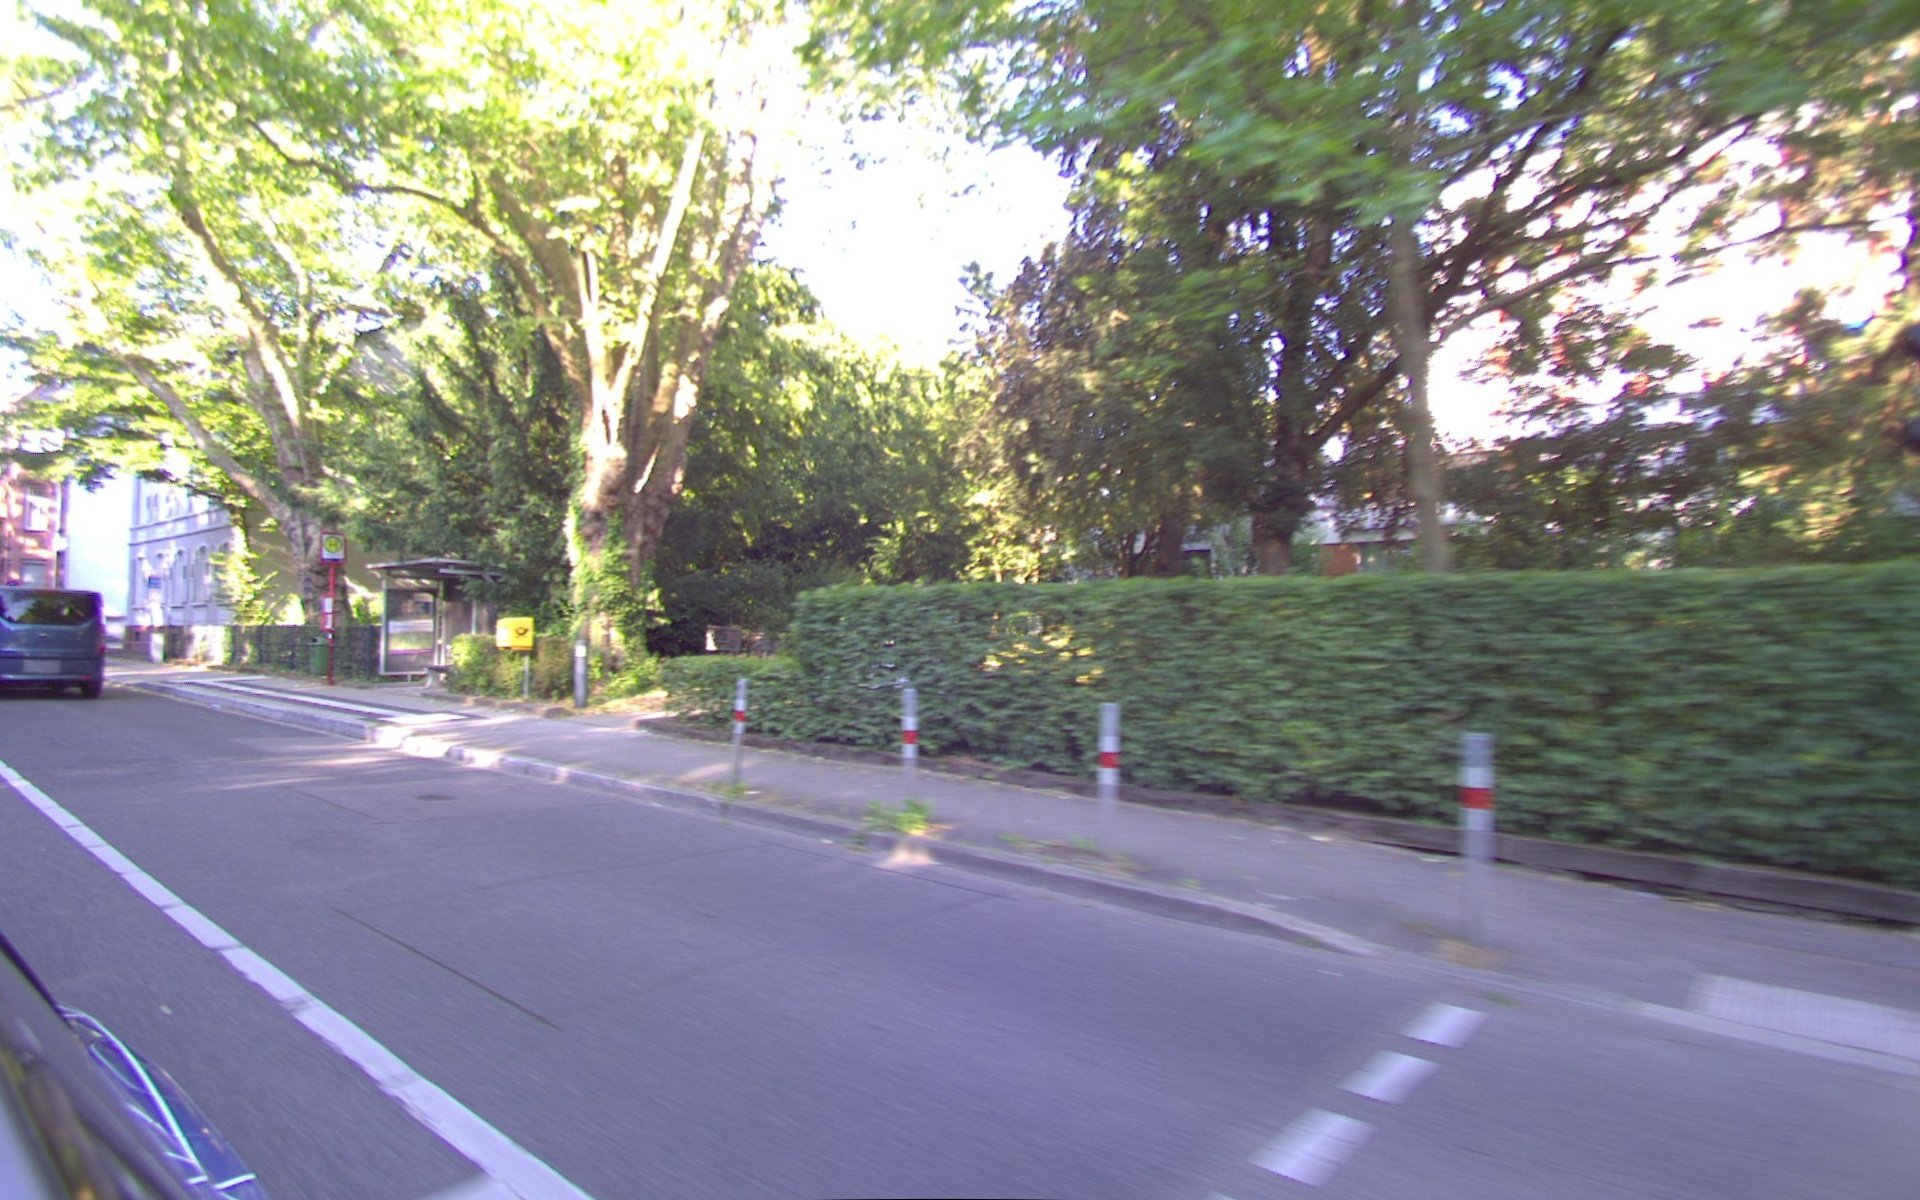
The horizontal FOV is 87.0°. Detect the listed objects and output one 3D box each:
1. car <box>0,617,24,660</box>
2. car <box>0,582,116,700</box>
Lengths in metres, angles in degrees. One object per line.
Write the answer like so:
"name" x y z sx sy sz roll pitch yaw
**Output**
"car" -34.210 1.345 35.460 3.556 1.445 1.607 -1 0 39
"car" -17.791 0.747 19.023 4.772 1.983 1.974 -1 -4 39
